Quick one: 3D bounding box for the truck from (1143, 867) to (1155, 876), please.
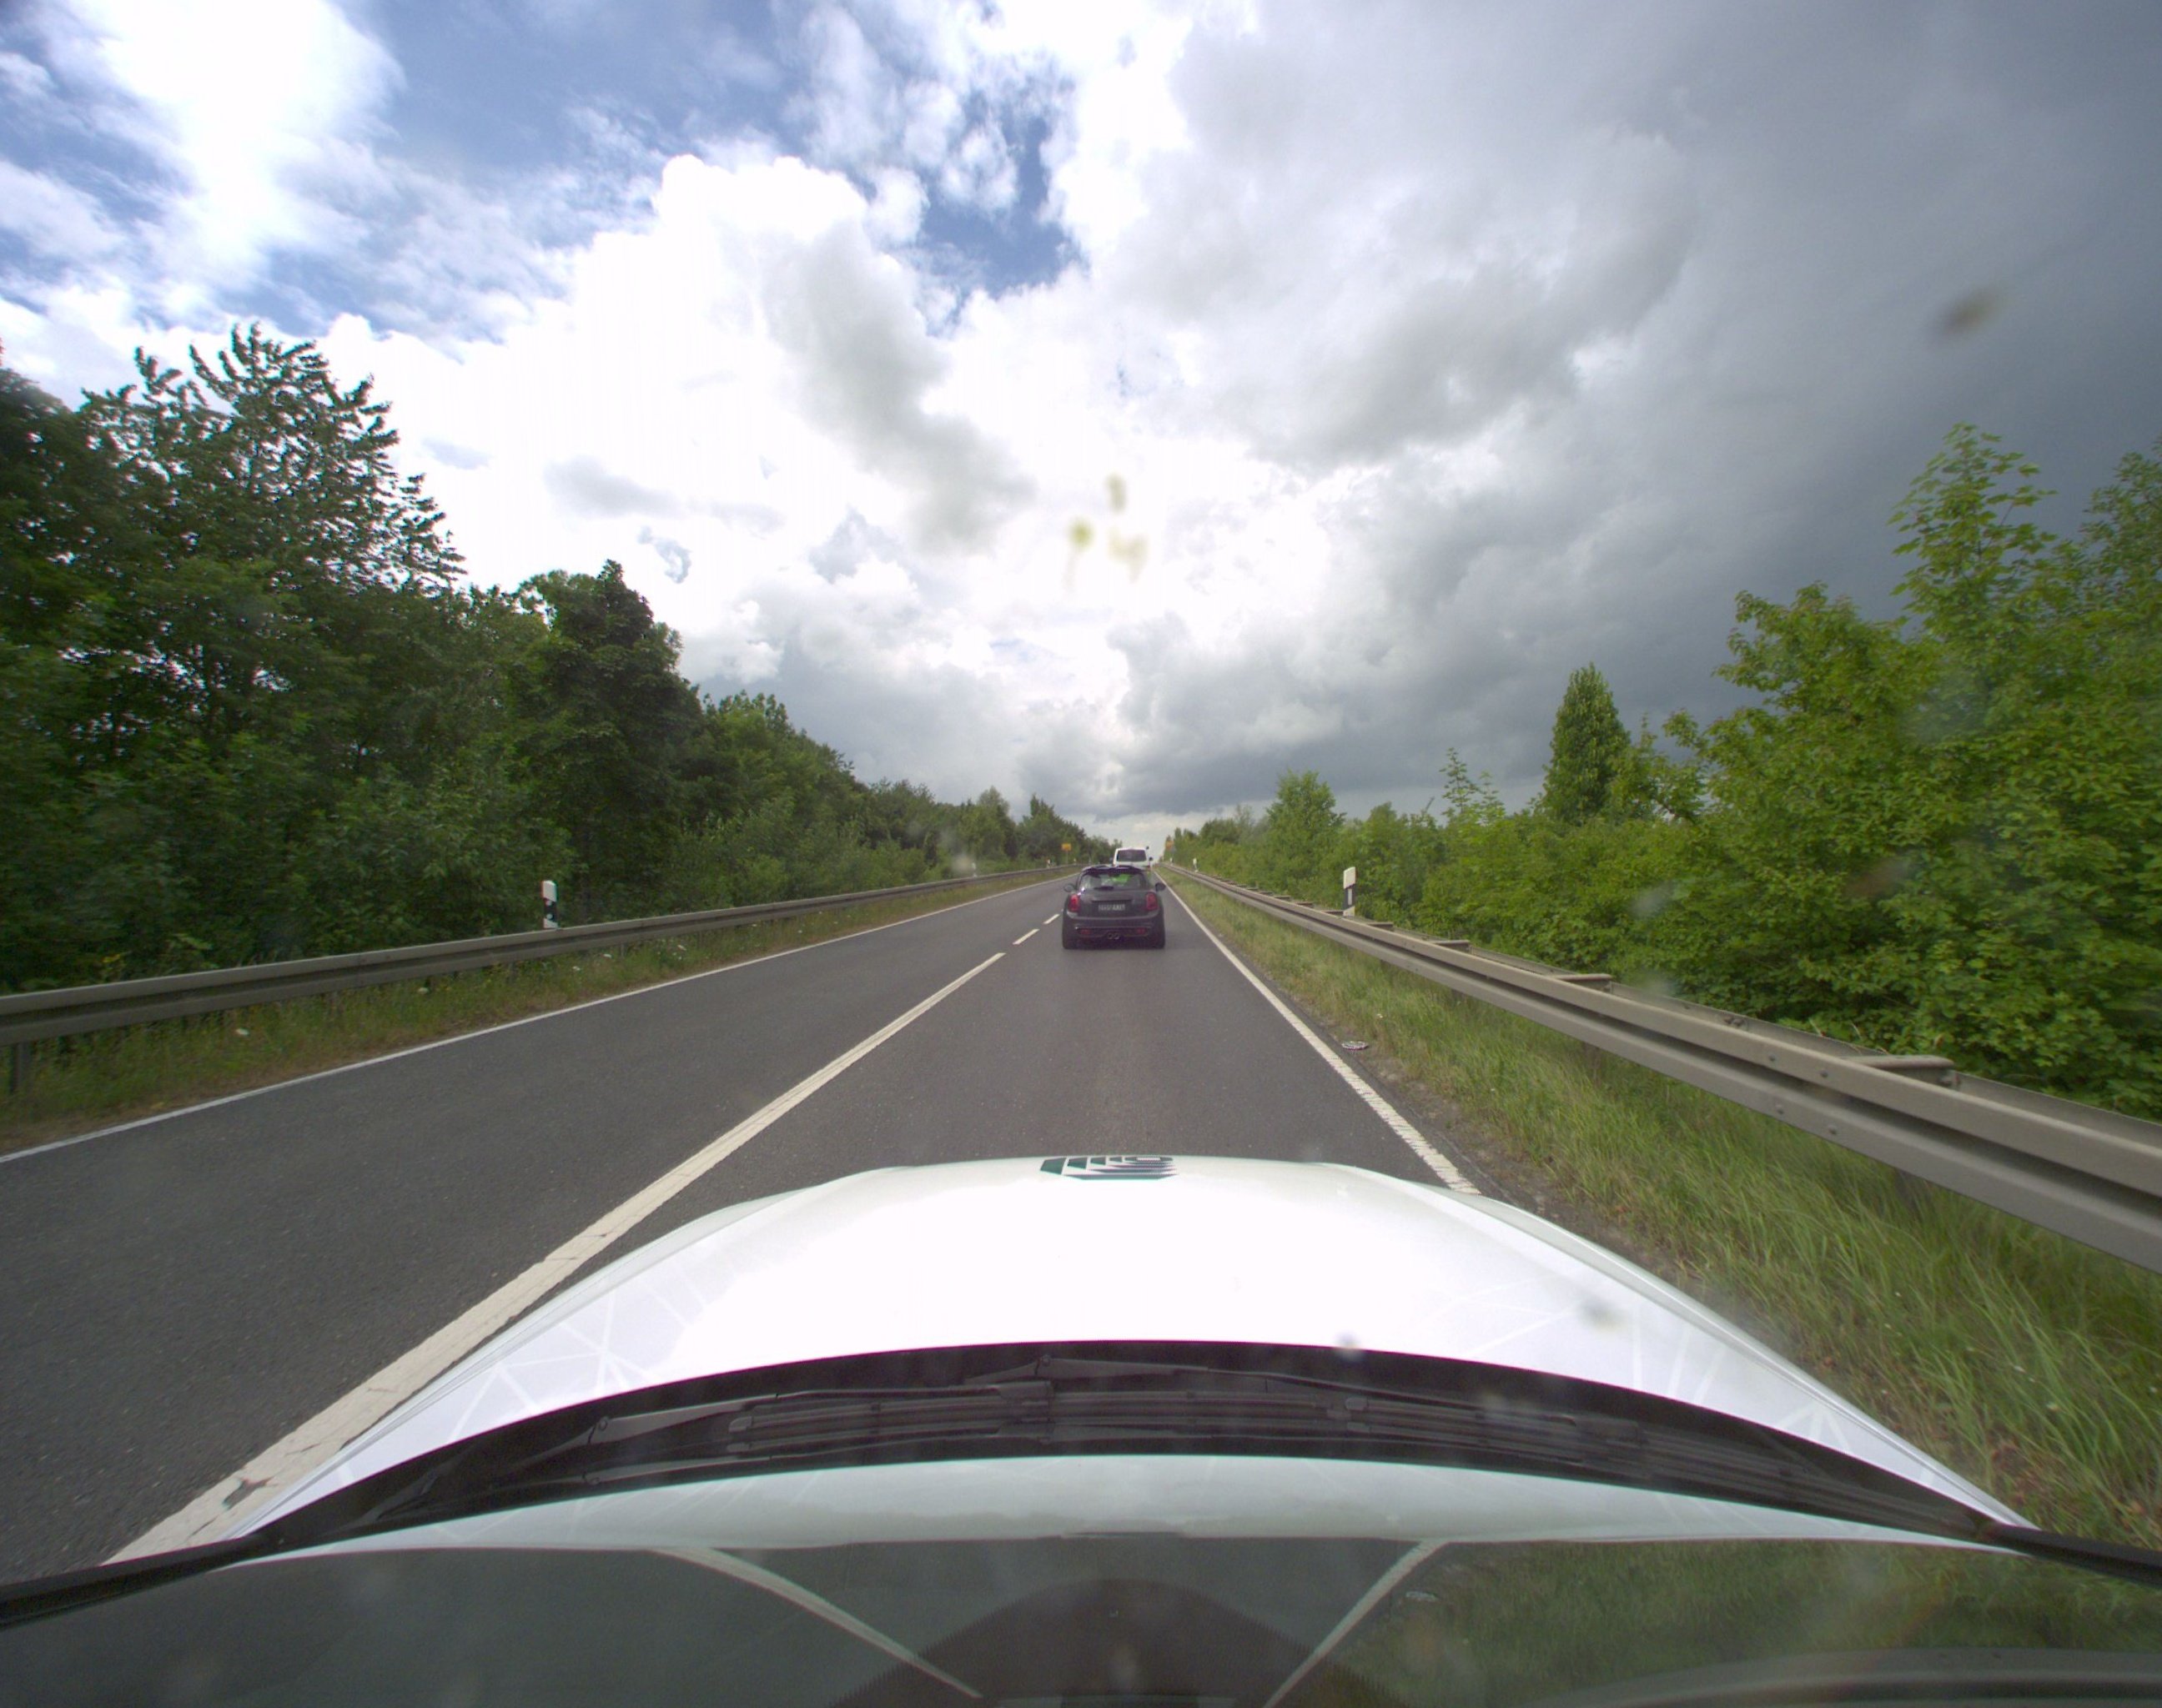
[{"bbox_3d":[20.428,5.076,244.097,2.894,2.372,10.472,-3,-1,7],"label":"truck"}]

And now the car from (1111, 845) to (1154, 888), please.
[{"bbox_3d":[2.567,0.593,40.515,2.013,2.013,4.004,0,0,4],"label":"car"}]

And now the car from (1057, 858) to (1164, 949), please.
[{"bbox_3d":[0.505,0.821,15.228,1.726,1.456,4.000,0,-1,0],"label":"car"}]

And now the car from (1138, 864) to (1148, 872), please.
[{"bbox_3d":[11.068,2.521,144.900,1.686,1.319,4.007,-3,0,6],"label":"car"}]
